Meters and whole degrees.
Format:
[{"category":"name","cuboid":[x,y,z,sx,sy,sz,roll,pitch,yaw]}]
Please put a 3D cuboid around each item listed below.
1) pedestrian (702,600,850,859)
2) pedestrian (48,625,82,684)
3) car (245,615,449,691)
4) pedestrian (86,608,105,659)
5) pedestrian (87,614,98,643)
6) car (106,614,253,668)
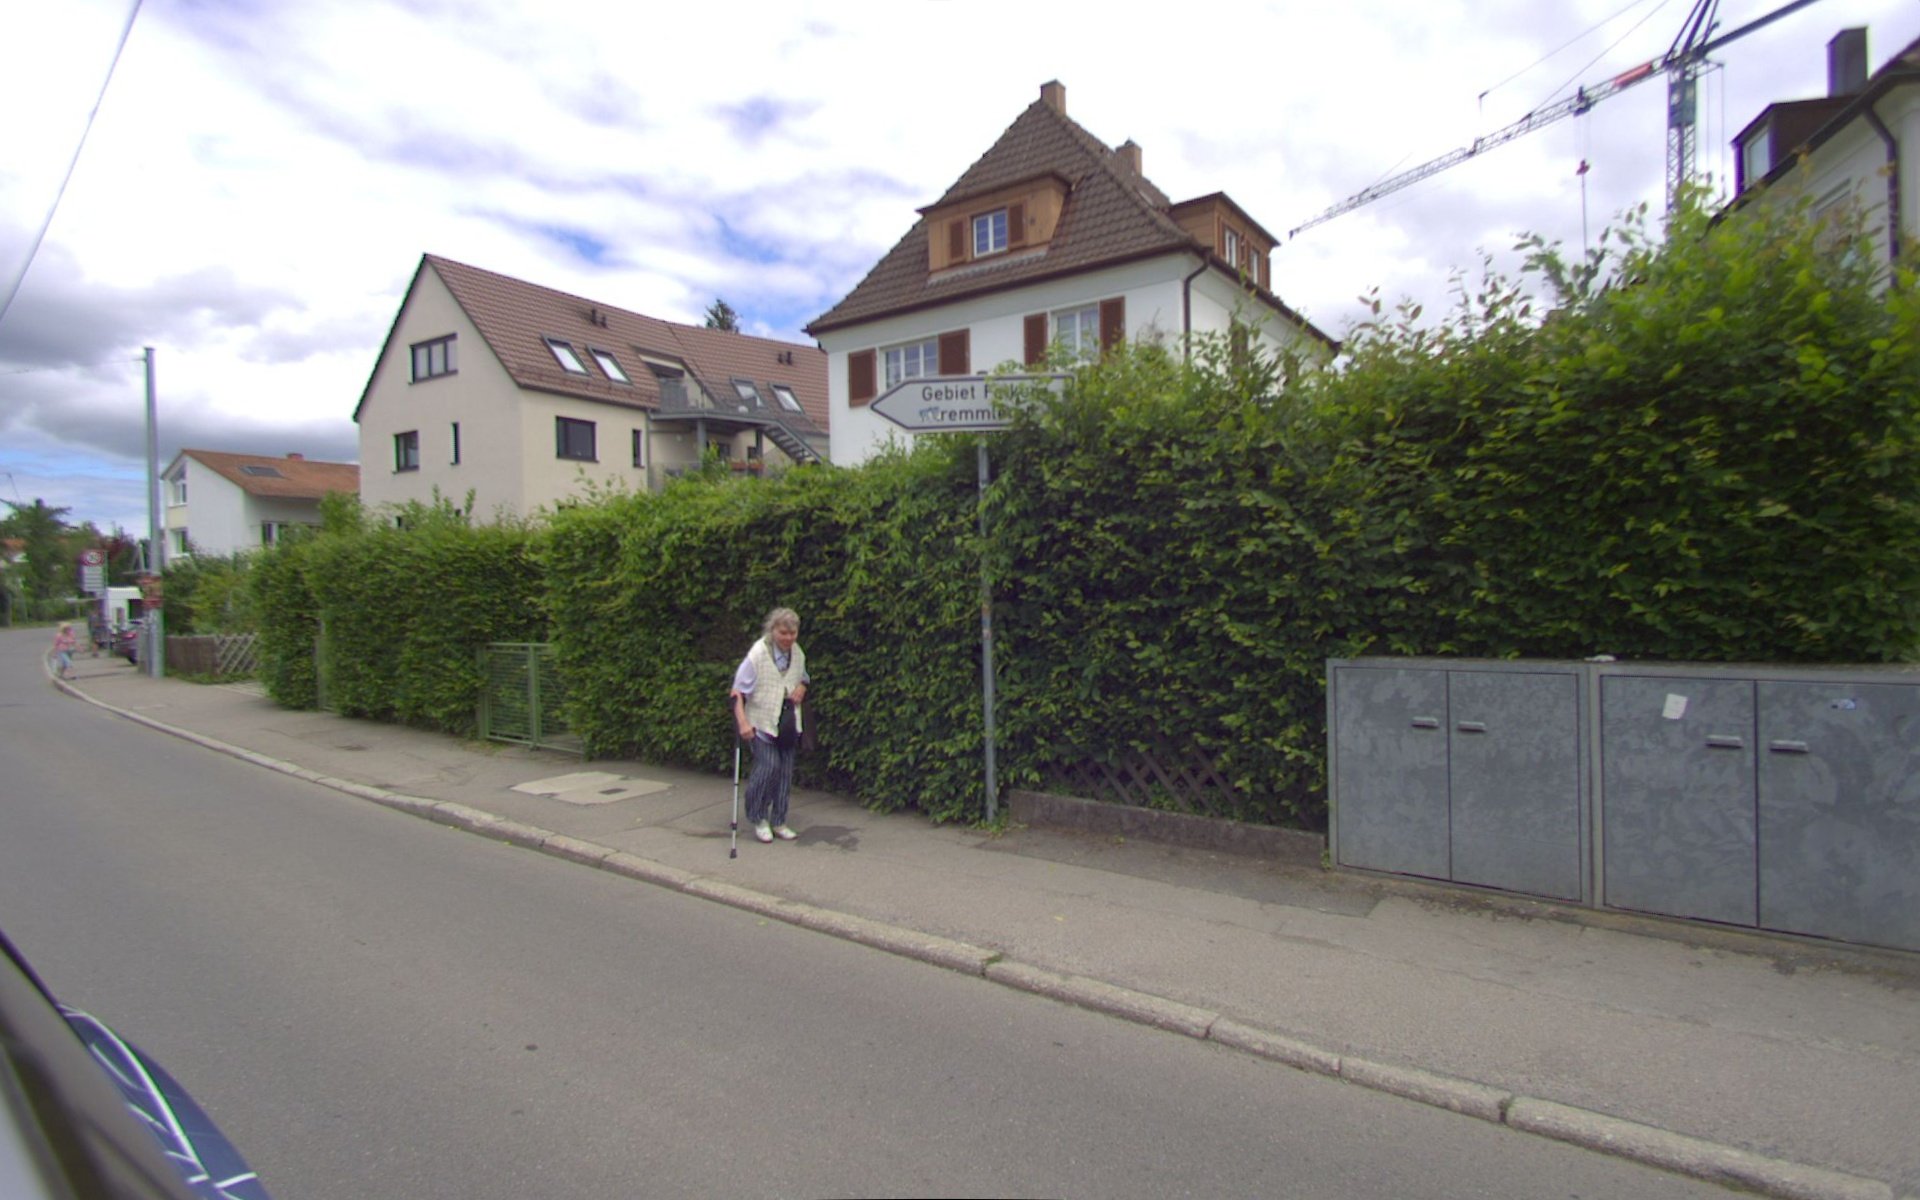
[{"category":"pedestrian","cuboid":[-1.185,0.798,6.592,0.542,1.542,0.742,-2,1,27]},{"category":"pedestrian","cuboid":[-25.107,1.524,28.394,0.608,1.611,0.611,-2,0,39]},{"category":"car","cuboid":[-14.248,1.177,23.653,1.775,1.504,3.711,-2,0,42]},{"category":"pedestrian","cuboid":[-33.908,1.316,39.705,0.528,1.966,0.528,-2,0,-40]},{"category":"pedestrian","cuboid":[-59.573,1.938,69.497,0.519,1.966,0.537,-2,0,-40]},{"category":"car","cuboid":[-28.366,1.456,36.861,1.884,1.741,3.944,-2,0,42]}]
